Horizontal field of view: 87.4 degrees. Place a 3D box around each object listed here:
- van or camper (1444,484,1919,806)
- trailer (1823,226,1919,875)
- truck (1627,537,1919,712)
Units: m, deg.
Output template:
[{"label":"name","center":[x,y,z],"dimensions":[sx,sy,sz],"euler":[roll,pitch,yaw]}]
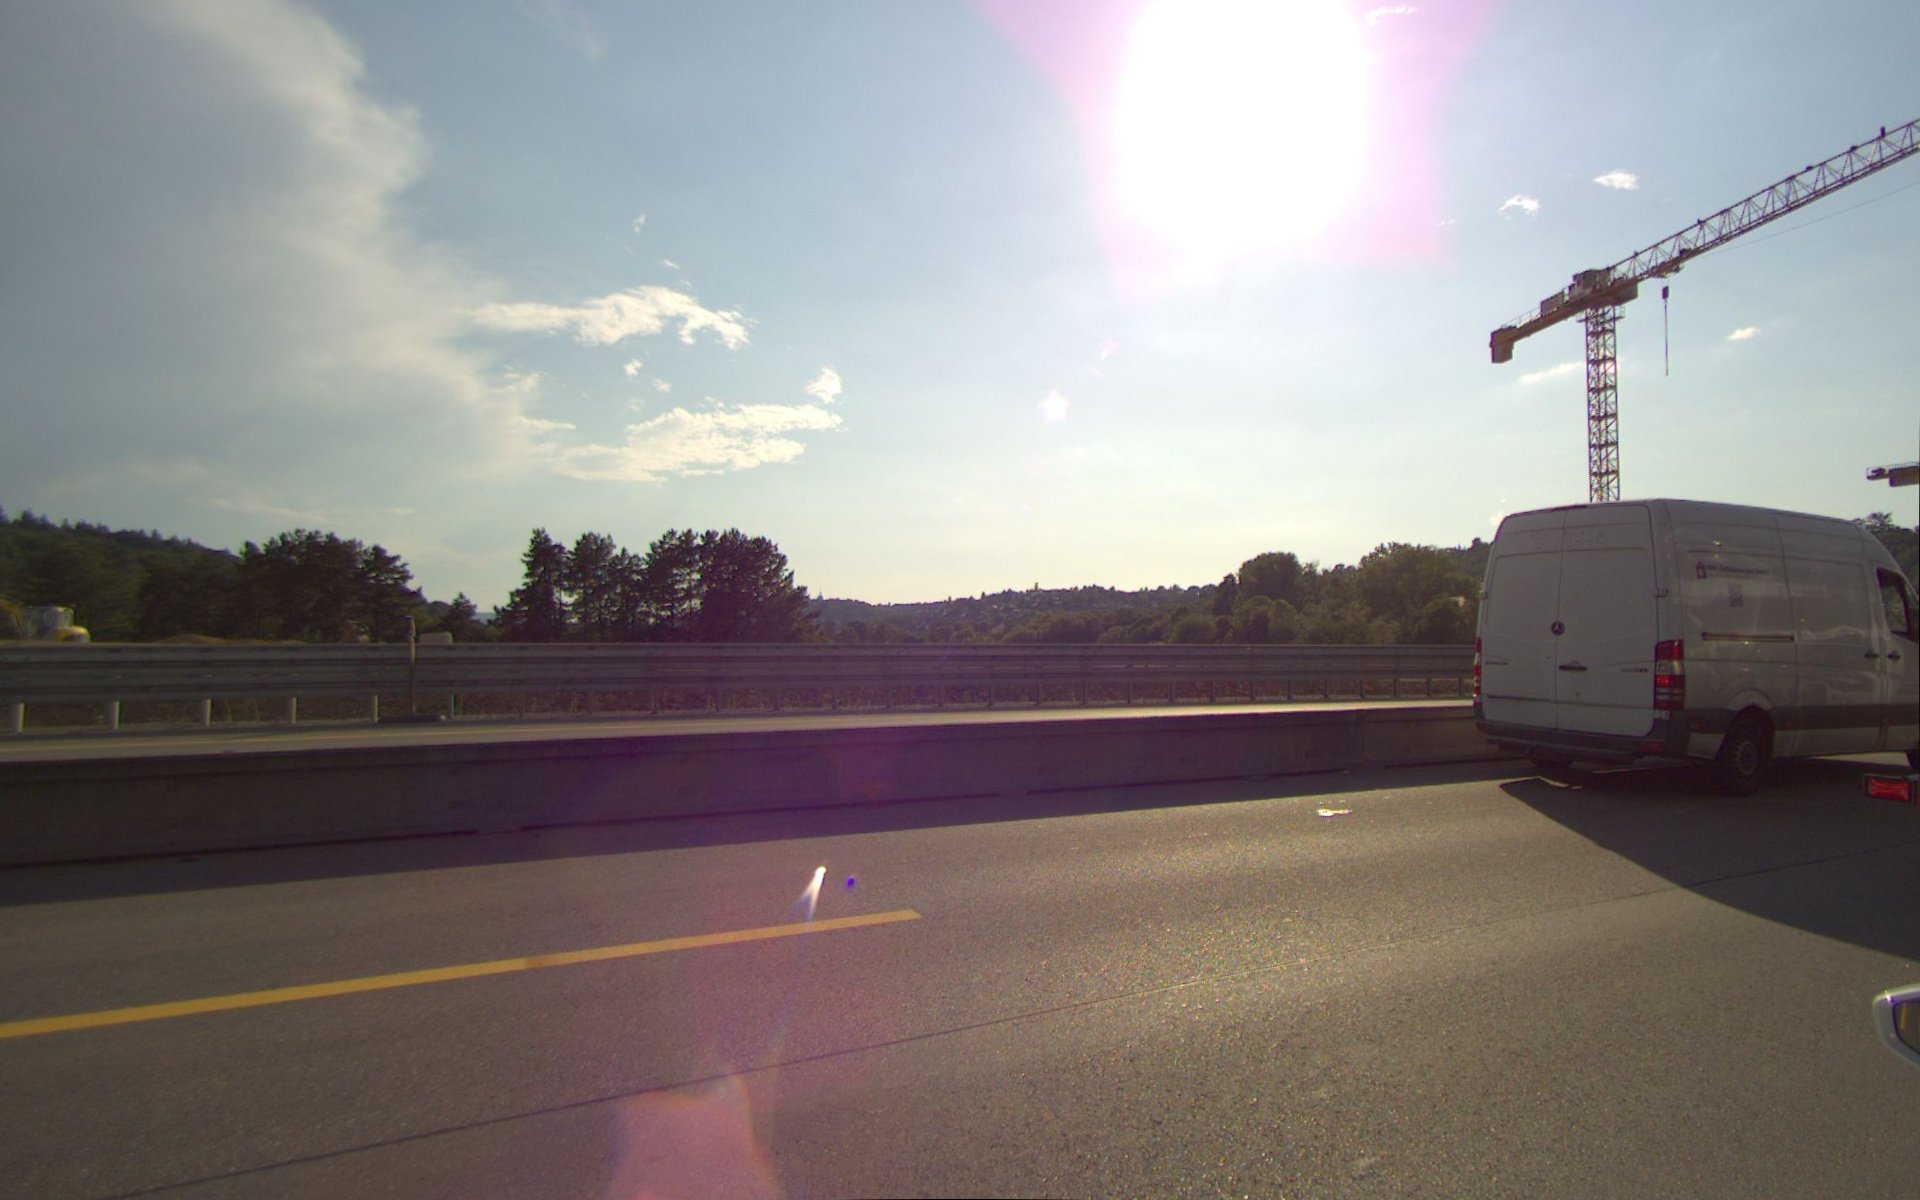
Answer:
[{"label":"van or camper","center":[7.912,0.451,10.407],"dimensions":[5.823,2.654,1.988],"euler":[1,-1,-25]},{"label":"trailer","center":[13.375,-0.171,8.765],"dimensions":[15.535,4.049,2.849],"euler":[1,-2,-26]},{"label":"truck","center":[18.156,0.581,22.316],"dimensions":[5.868,3.441,2.890],"euler":[1,-2,-24]}]
